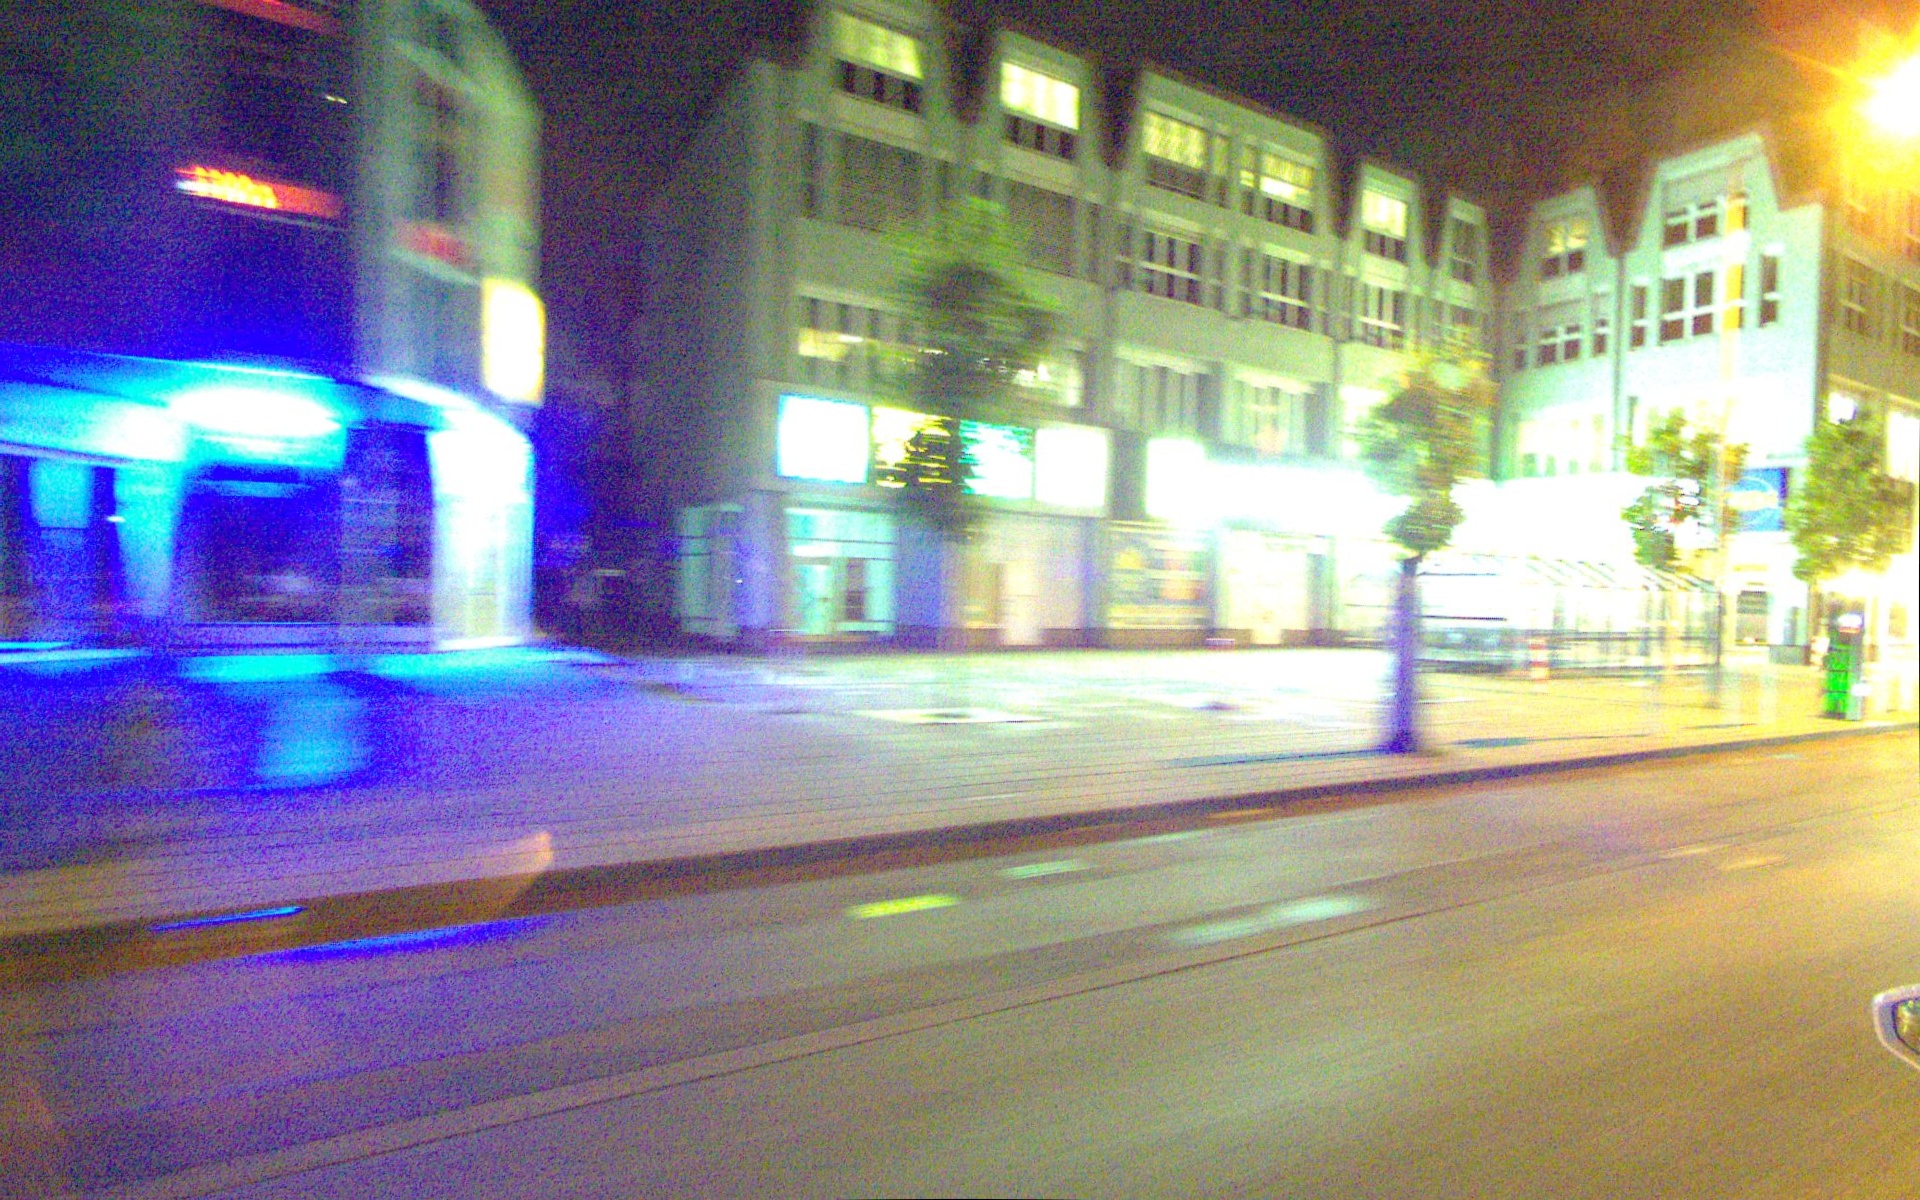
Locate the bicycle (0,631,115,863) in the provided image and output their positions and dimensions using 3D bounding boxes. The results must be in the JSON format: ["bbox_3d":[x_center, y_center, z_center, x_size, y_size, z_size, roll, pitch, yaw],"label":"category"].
[{"bbox_3d":[-4.943,0.687,5.234,0.495,0.981,1.842,1,0,-30],"label":"bicycle"}]

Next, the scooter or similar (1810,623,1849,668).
[{"bbox_3d":[24.794,1.295,28.634,1.327,1.237,0.386,1,0,-28],"label":"scooter or similar"}]

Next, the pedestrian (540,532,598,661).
[{"bbox_3d":[-5.179,-0.038,13.307,0.624,1.658,0.476,1,0,-30],"label":"pedestrian"}]

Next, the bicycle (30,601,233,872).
[{"bbox_3d":[-4.350,0.612,5.391,0.526,1.182,1.842,1,0,-30],"label":"bicycle"}]
